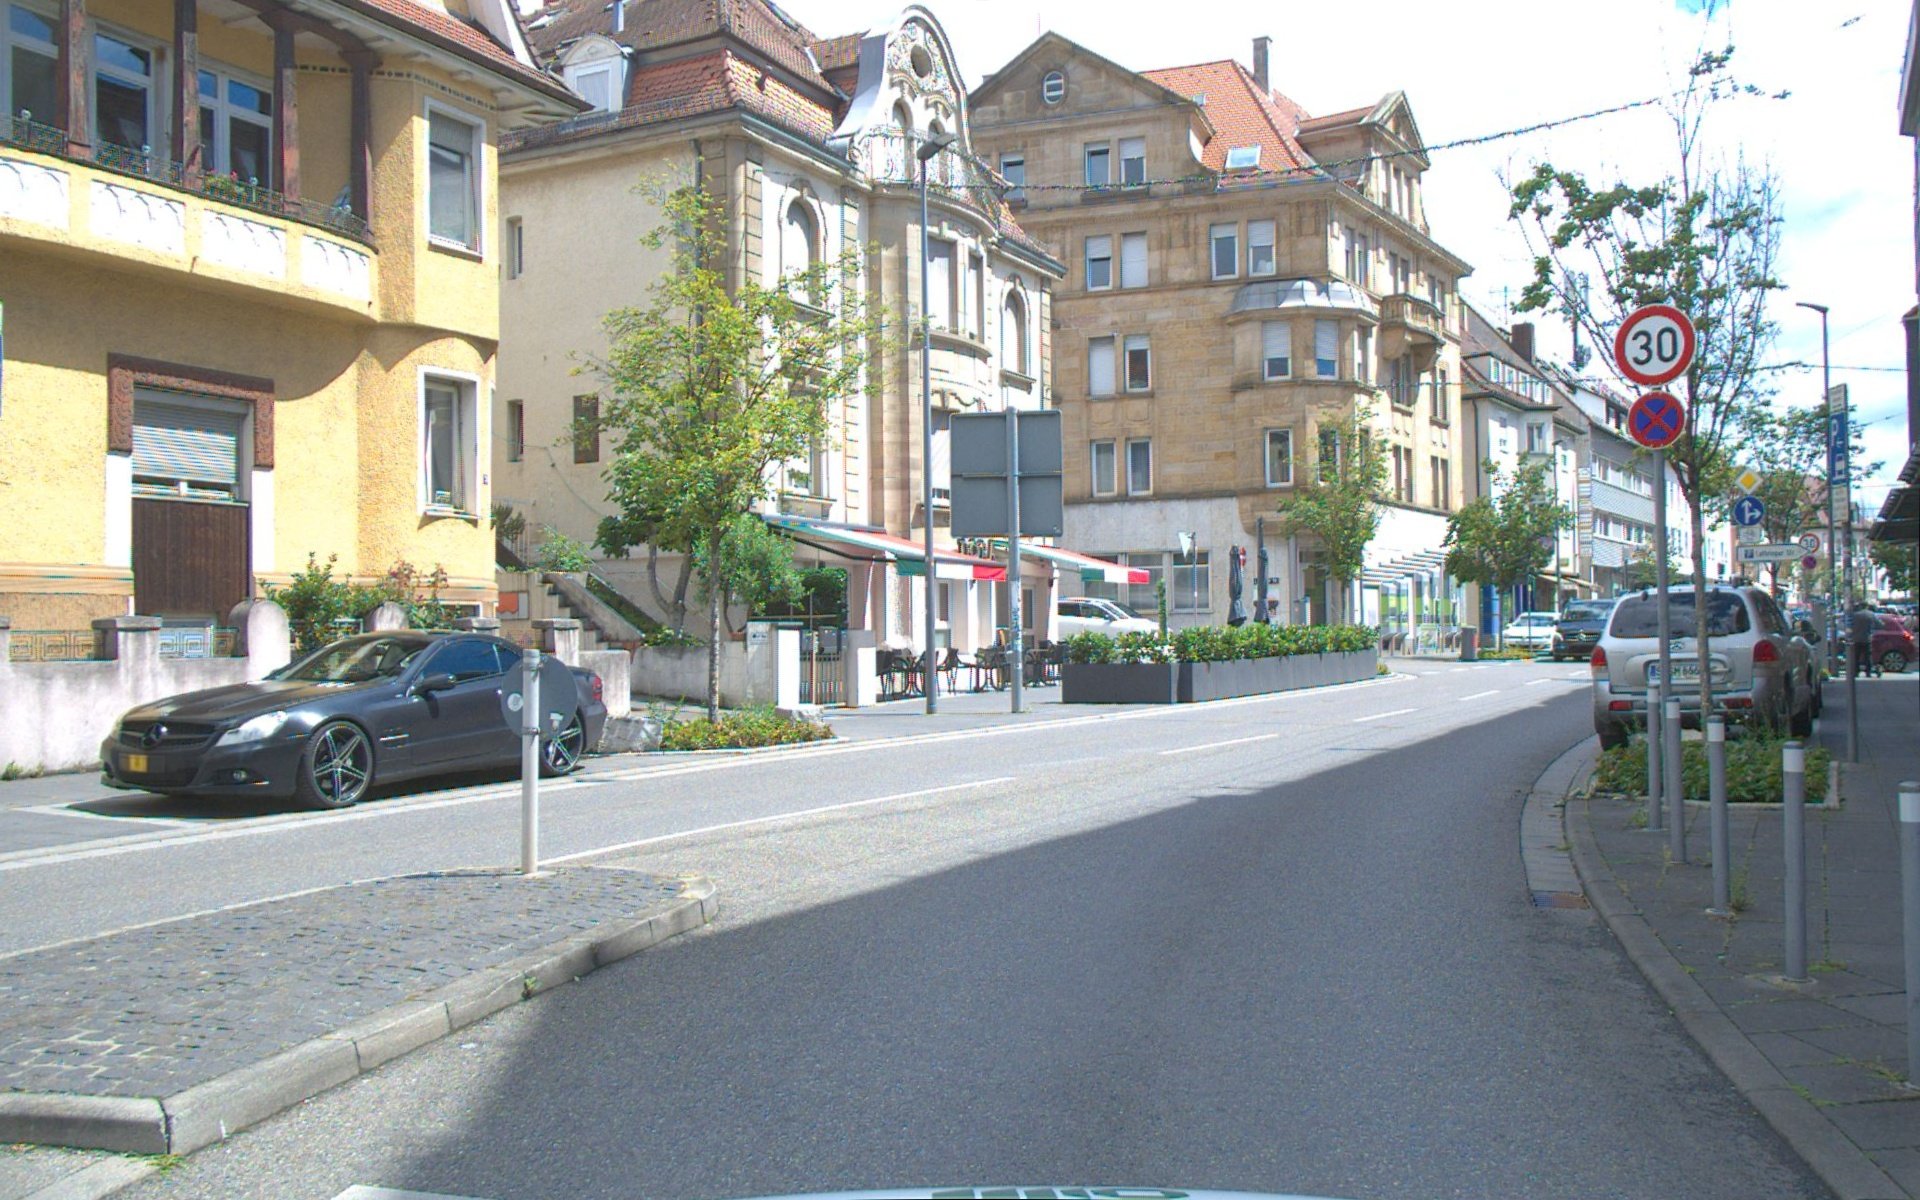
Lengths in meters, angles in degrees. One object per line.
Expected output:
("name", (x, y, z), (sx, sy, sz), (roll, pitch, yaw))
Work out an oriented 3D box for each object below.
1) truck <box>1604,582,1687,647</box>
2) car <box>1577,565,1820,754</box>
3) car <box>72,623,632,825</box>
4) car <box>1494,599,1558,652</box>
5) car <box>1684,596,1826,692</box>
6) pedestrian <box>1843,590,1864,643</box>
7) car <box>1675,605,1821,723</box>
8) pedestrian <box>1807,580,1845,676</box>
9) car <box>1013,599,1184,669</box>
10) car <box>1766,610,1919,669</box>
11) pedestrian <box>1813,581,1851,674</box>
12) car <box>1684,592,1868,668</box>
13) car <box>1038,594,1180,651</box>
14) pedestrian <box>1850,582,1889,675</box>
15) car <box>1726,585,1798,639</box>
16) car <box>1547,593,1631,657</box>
("truck", (24.430, 0.497, 58.851), (2.027, 2.203, 5.283), (-2, -1, 30))
("car", (7.980, 0.595, 17.657), (1.791, 1.761, 4.222), (-2, -2, 32))
("car", (-4.758, 0.881, 13.681), (1.676, 1.267, 4.407), (2, 1, 26))
("car", (19.595, 0.863, 57.164), (1.675, 1.742, 3.997), (-1, 0, 25))
("car", (14.040, 0.746, 29.086), (1.791, 1.546, 4.222), (-2, -2, 32))
("pedestrian", (34.902, 0.648, 64.621), (0.670, 2.049, 0.597), (0, -1, 33))
("car", (11.007, 0.818, 22.955), (1.590, 1.459, 4.233), (-2, -1, 28))
("pedestrian", (18.871, 0.607, 36.064), (0.675, 2.049, 0.723), (-1, -1, 24))
("car", (3.746, 0.910, 44.478), (4.324, 1.807, 2.002), (-1, -1, 13))
("car", (22.933, 1.000, 42.946), (3.552, 1.438, 1.587), (1, -1, 28))
("pedestrian", (19.464, 0.616, 36.915), (0.675, 2.049, 0.723), (-1, -1, 24))
("car", (20.082, 0.716, 40.738), (3.915, 1.738, 1.670), (1, -1, 32))
("car", (4.554, 0.685, 50.428), (3.907, 1.691, 1.908), (-1, -1, 24))
("pedestrian", (20.220, 0.627, 36.769), (0.675, 2.049, 0.723), (-1, -1, 24))
("car", (30.088, 0.425, 61.976), (1.935, 1.908, 5.026), (-2, -1, 31))
("car", (19.631, 0.769, 51.529), (1.800, 1.867, 4.562), (-2, -1, 29))
